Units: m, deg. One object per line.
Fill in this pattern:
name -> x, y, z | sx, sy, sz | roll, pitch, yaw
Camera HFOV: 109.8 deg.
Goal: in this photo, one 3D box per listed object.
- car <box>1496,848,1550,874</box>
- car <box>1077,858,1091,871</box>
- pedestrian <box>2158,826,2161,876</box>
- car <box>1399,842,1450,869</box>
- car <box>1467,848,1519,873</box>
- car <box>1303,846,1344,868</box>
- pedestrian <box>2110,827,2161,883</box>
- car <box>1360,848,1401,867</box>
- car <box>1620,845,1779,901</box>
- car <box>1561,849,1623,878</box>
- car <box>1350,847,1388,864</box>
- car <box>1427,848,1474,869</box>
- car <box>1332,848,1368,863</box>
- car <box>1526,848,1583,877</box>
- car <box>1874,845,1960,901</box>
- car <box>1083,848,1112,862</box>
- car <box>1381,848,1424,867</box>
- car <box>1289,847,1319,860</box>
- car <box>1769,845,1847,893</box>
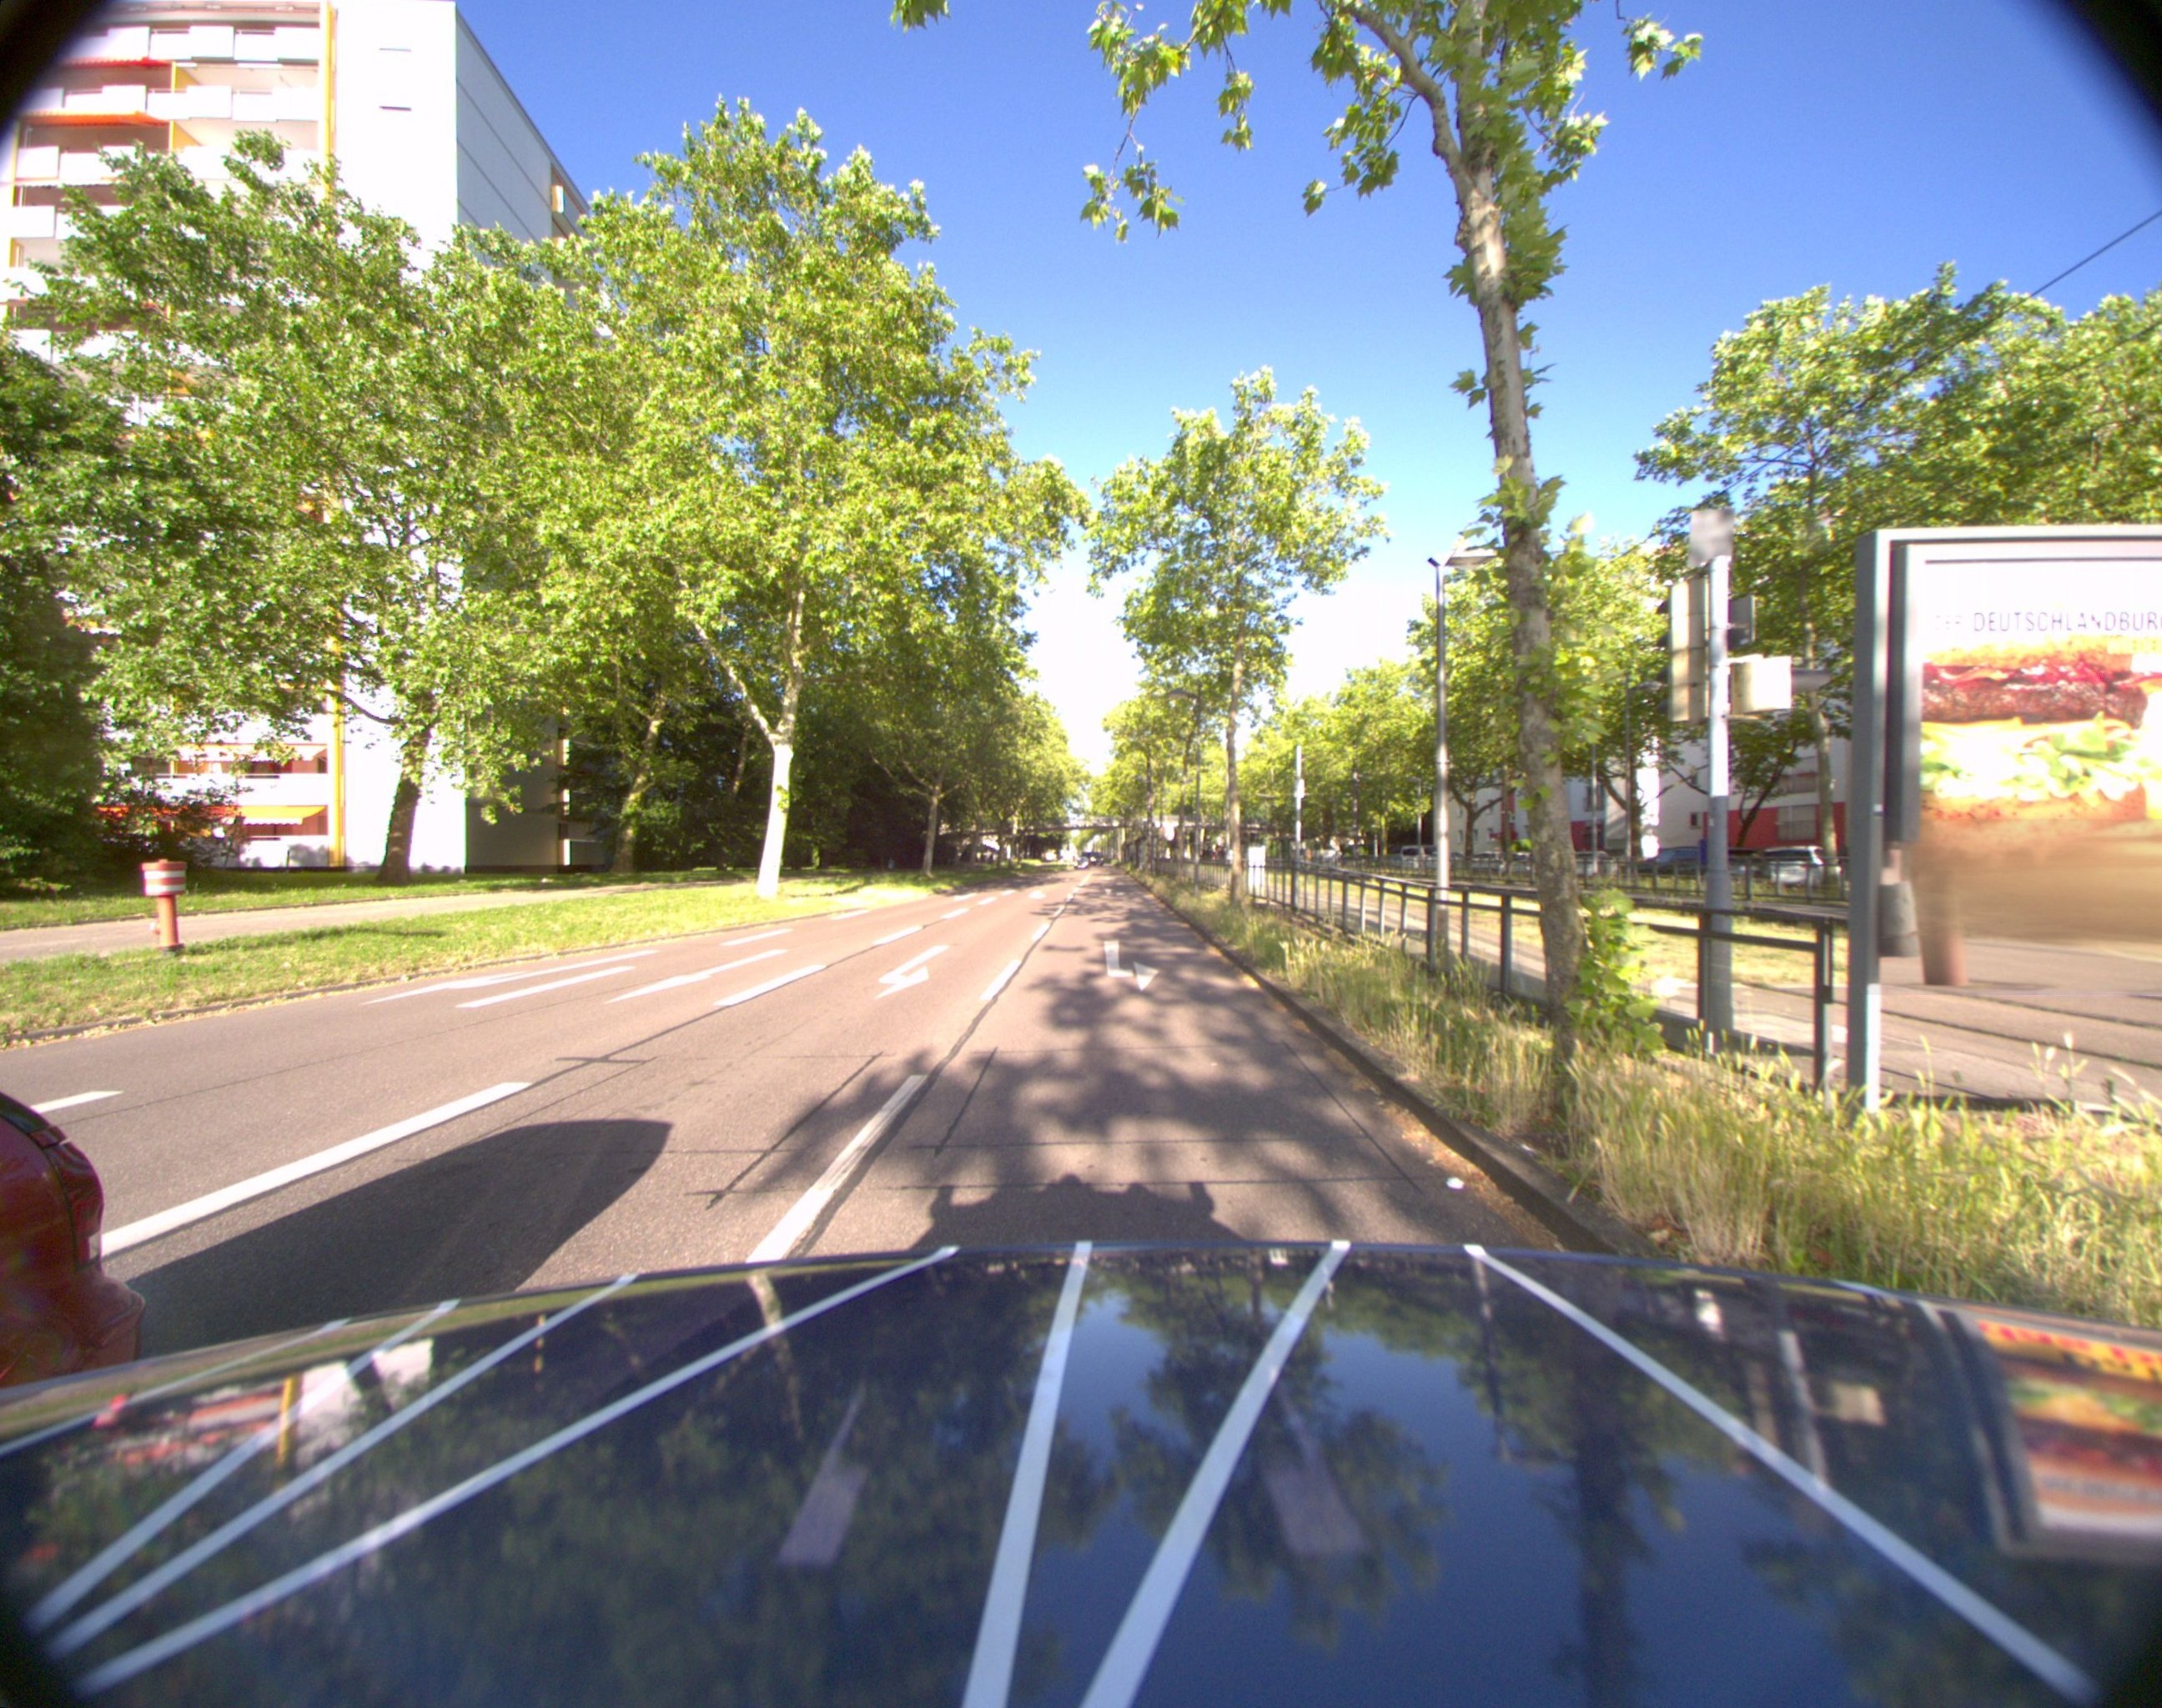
car -> 26.101, 0.412, 44.859 | 3.811, 1.433, 1.652 | -2, 0, -42
car -> 0.371, 1.257, 91.487 | 1.580, 1.395, 3.638 | -2, 0, 0
pedestrian -> 35.888, -0.107, 24.660 | 0.764, 1.614, 0.786 | -2, 1, -1
car -> 25.822, 0.096, 57.025 | 4.330, 1.863, 1.836 | -2, 0, -42
car -> 25.854, 0.403, 47.674 | 3.811, 1.433, 1.652 | -2, 0, -42
car -> 20.839, 0.235, 65.527 | 1.832, 1.811, 4.901 | -2, 0, -2
pedestrian -> 33.372, 0.019, 23.972 | 0.764, 1.723, 0.786 | -2, 1, -1
car -> 24.947, 0.279, 63.204 | 3.811, 1.433, 1.652 | -2, 0, -42
car -> 19.600, 0.553, 24.339 | 1.655, 1.609, 4.294 | -2, 0, 1
car -> 25.385, 0.453, 37.693 | 3.811, 1.348, 1.652 | -2, 0, -42
car -> 26.623, 0.142, 70.129 | 3.811, 1.433, 1.652 | -2, 0, -42
car -> 26.305, 0.316, 54.027 | 3.811, 1.433, 1.652 | -2, 0, -42
car -> 26.070, 0.141, 73.560 | 3.811, 1.433, 1.652 | -2, 0, -42
car -> 25.866, 0.448, 41.474 | 3.811, 1.433, 1.652 | -2, 0, -42
car -> 25.246, 0.528, 22.961 | 3.811, 1.501, 1.652 | -2, 0, -42
car -> 2.344, 0.212, 111.634 | 1.911, 1.924, 4.709 | -2, 0, -33
car -> 25.733, 0.276, 60.747 | 3.811, 1.433, 1.652 | -2, 0, -42
car -> 26.443, -0.039, 89.970 | 3.811, 1.433, 1.652 | -2, 0, -42
car -> 25.360, 0.494, 26.470 | 3.811, 1.501, 1.652 | -2, 0, -42
